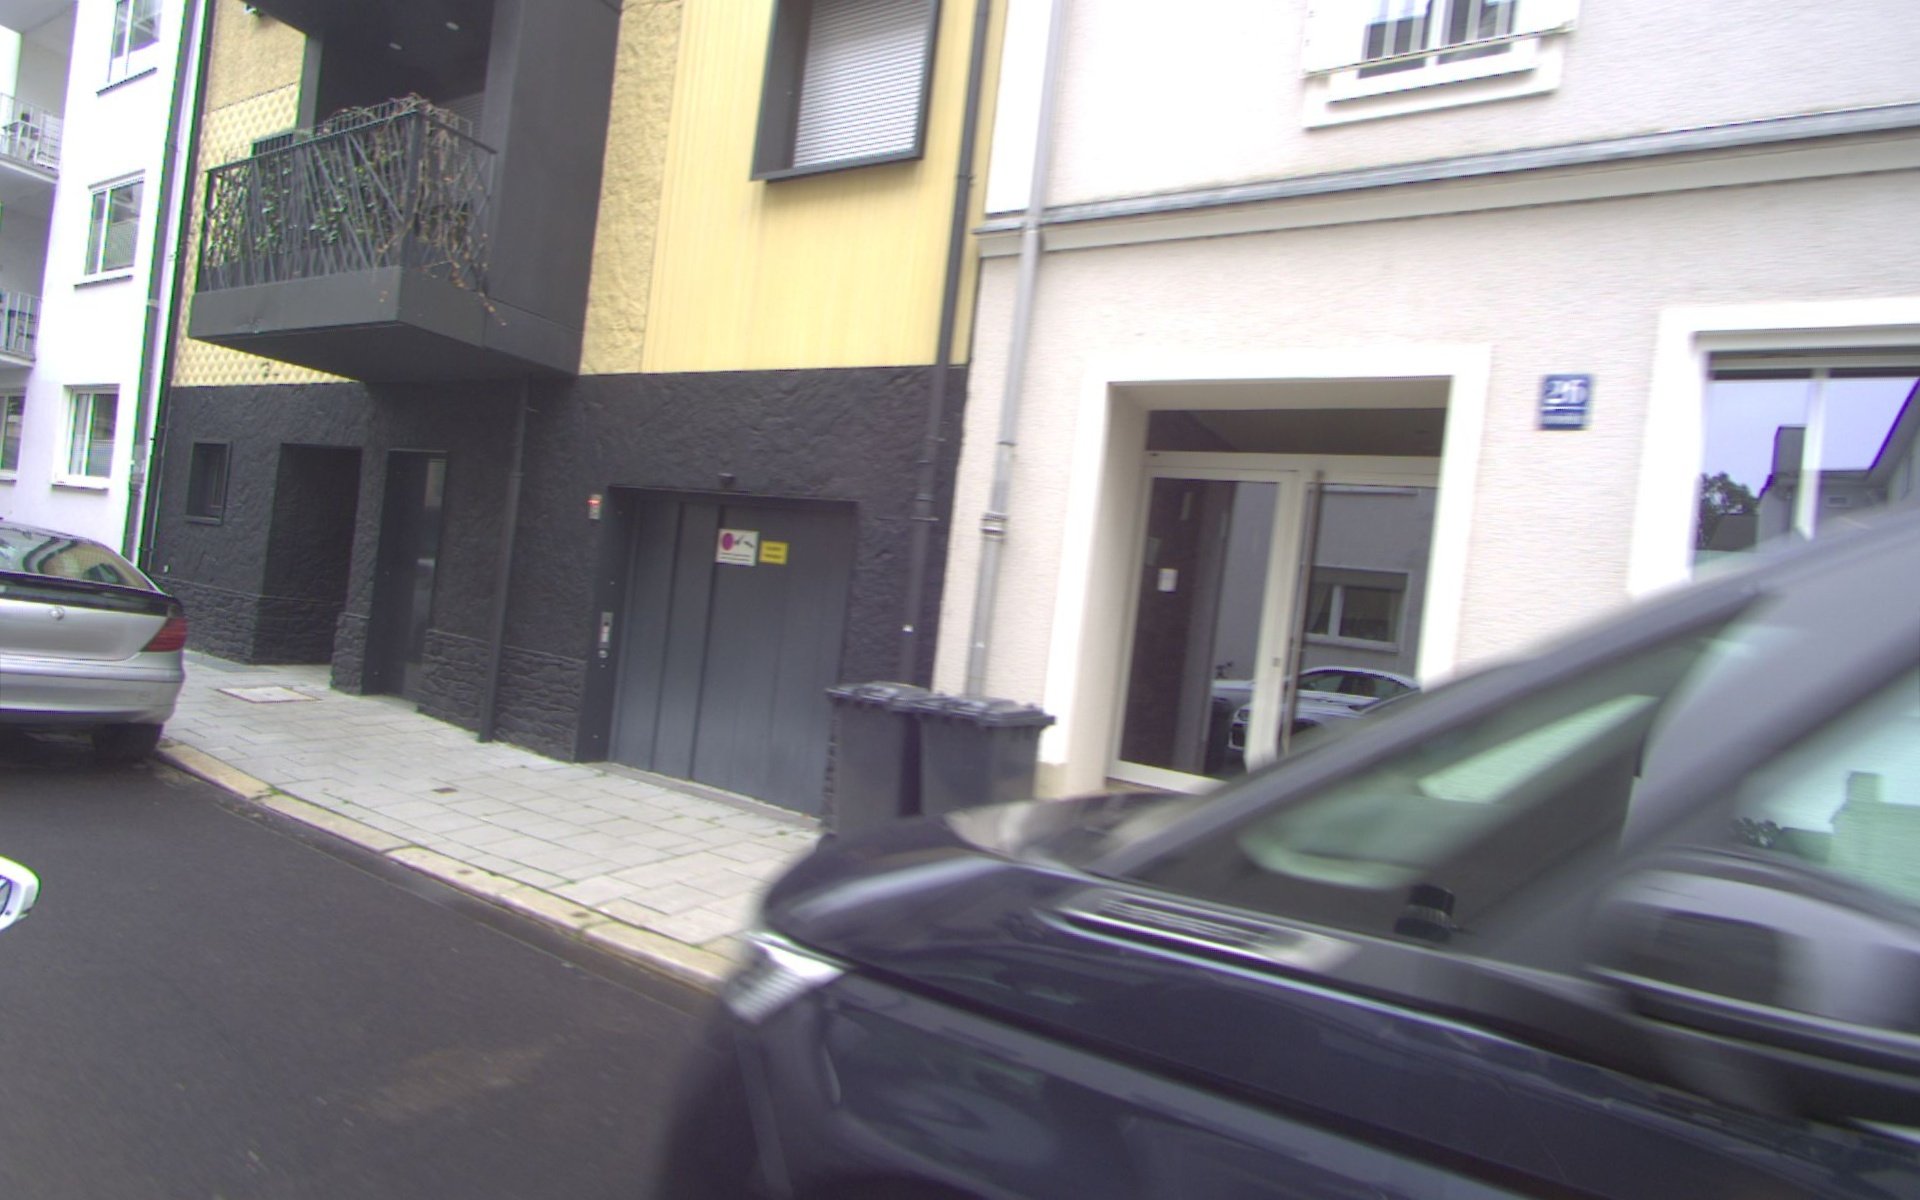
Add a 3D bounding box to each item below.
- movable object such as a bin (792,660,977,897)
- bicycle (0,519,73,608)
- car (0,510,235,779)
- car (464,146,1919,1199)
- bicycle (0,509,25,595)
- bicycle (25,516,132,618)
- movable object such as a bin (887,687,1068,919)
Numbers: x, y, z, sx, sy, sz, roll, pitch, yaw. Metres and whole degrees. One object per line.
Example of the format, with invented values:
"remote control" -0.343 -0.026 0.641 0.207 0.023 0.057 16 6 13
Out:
"movable object such as a bin" -0.404 0.956 5.647 0.564 1.153 0.796 7 0 30
"bicycle" -12.333 -0.498 13.241 1.526 1.014 0.478 7 0 31
"car" -6.923 0.083 6.743 4.132 1.447 1.737 7 -1 30
"car" 1.947 0.773 1.107 5.098 1.860 1.987 6 -2 31
"bicycle" -14.060 -0.753 14.351 1.537 1.164 0.571 7 0 31
"bicycle" -10.816 -0.414 12.329 1.496 1.060 0.477 7 0 31
"movable object such as a bin" 0.113 1.038 5.399 0.537 1.067 0.796 7 0 30
